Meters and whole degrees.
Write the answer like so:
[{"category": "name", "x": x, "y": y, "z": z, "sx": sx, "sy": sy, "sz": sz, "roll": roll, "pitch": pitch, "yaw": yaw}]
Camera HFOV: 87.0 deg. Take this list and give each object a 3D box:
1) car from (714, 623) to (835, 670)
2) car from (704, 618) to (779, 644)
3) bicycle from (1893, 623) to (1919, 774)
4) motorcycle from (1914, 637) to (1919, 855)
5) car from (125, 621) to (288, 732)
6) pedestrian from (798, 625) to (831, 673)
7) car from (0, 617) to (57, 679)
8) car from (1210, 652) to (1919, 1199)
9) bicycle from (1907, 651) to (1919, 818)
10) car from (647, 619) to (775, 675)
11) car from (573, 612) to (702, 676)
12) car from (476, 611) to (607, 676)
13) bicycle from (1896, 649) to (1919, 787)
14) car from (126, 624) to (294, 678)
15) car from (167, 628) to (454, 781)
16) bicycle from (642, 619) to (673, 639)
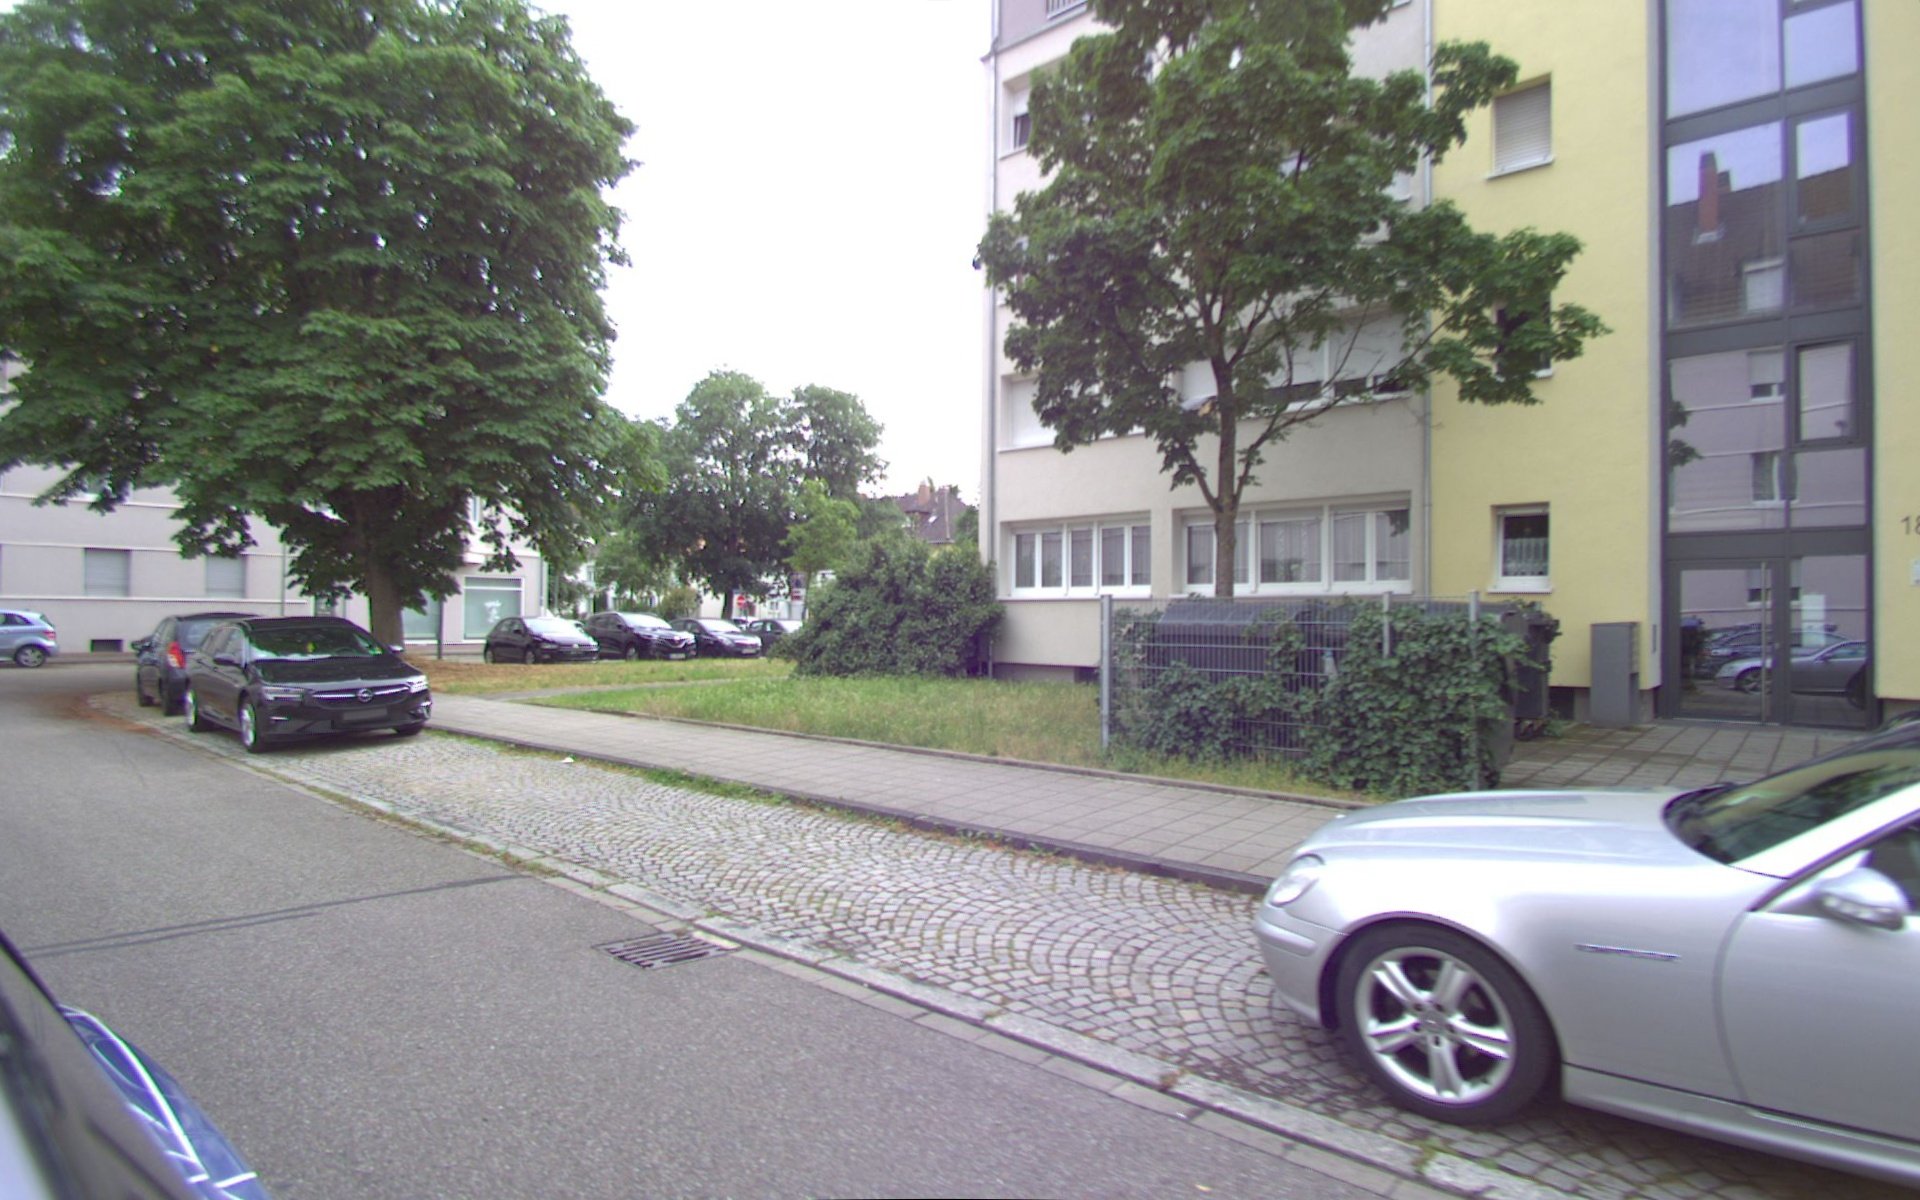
[{"category": "car", "x": -6.384, "y": 1.561, "z": 34.496, "sx": 1.814, "sy": 1.475, "sz": 4.562, "roll": 1, "pitch": -2, "yaw": -45}, {"category": "car", "x": -13.842, "y": 1.943, "z": 63.868, "sx": 4.874, "sy": 1.578, "sz": 1.880, "roll": -1, "pitch": -1, "yaw": 36}, {"category": "bicycle", "x": 7.828, "y": 0.722, "z": 7.162, "sx": 1.774, "sy": 1.109, "sz": 0.545, "roll": -1, "pitch": -1, "yaw": 42}, {"category": "motorcycle", "x": 6.598, "y": 0.815, "z": 4.743, "sx": 3.066, "sy": 1.232, "sz": 0.673, "roll": -1, "pitch": -1, "yaw": 43}, {"category": "car", "x": -12.154, "y": 1.133, "z": 16.252, "sx": 3.592, "sy": 1.505, "sz": 1.507, "roll": -1, "pitch": 1, "yaw": 44}, {"category": "pedestrian", "x": -5.708, "y": 1.920, "z": 39.848, "sx": 0.871, "sy": 1.850, "sz": 1.213, "roll": 0, "pitch": -1, "yaw": 15}, {"category": "car", "x": -26.644, "y": 1.278, "z": 26.662, "sx": 1.763, "sy": 1.640, "sz": 4.140, "roll": -1, "pitch": -1, "yaw": 44}, {"category": "car", "x": 2.944, "y": 0.868, "z": 2.883, "sx": 4.013, "sy": 1.268, "sz": 1.679, "roll": -1, "pitch": 0, "yaw": 41}, {"category": "bicycle", "x": 7.264, "y": 0.907, "z": 6.446, "sx": 1.774, "sy": 1.109, "sz": 0.545, "roll": -1, "pitch": -1, "yaw": 42}, {"category": "car", "x": -7.720, "y": 1.422, "z": 31.123, "sx": 4.359, "sy": 1.578, "sz": 1.814, "roll": -3, "pitch": -2, "yaw": 45}, {"category": "car", "x": -9.357, "y": 1.259, "z": 29.218, "sx": 4.070, "sy": 1.710, "sz": 1.888, "roll": -3, "pitch": -2, "yaw": 45}, {"category": "car", "x": -11.085, "y": 1.098, "z": 26.719, "sx": 3.843, "sy": 1.589, "sz": 1.804, "roll": -1, "pitch": -2, "yaw": 44}, {"category": "bicycle", "x": 8.638, "y": 0.973, "z": 8.012, "sx": 1.774, "sy": 1.109, "sz": 0.545, "roll": -1, "pitch": -1, "yaw": 42}, {"category": "car", "x": -22.931, "y": 1.508, "z": 31.039, "sx": 1.762, "sy": 1.501, "sz": 3.883, "roll": -1, "pitch": -1, "yaw": 41}, {"category": "car", "x": -8.358, "y": 1.149, "z": 12.815, "sx": 4.833, "sy": 1.475, "sz": 1.848, "roll": -1, "pitch": 1, "yaw": 42}, {"category": "bicycle", "x": -16.484, "y": 1.565, "z": 55.045, "sx": 1.882, "sy": 1.075, "sz": 0.659, "roll": -1, "pitch": -1, "yaw": 38}]
